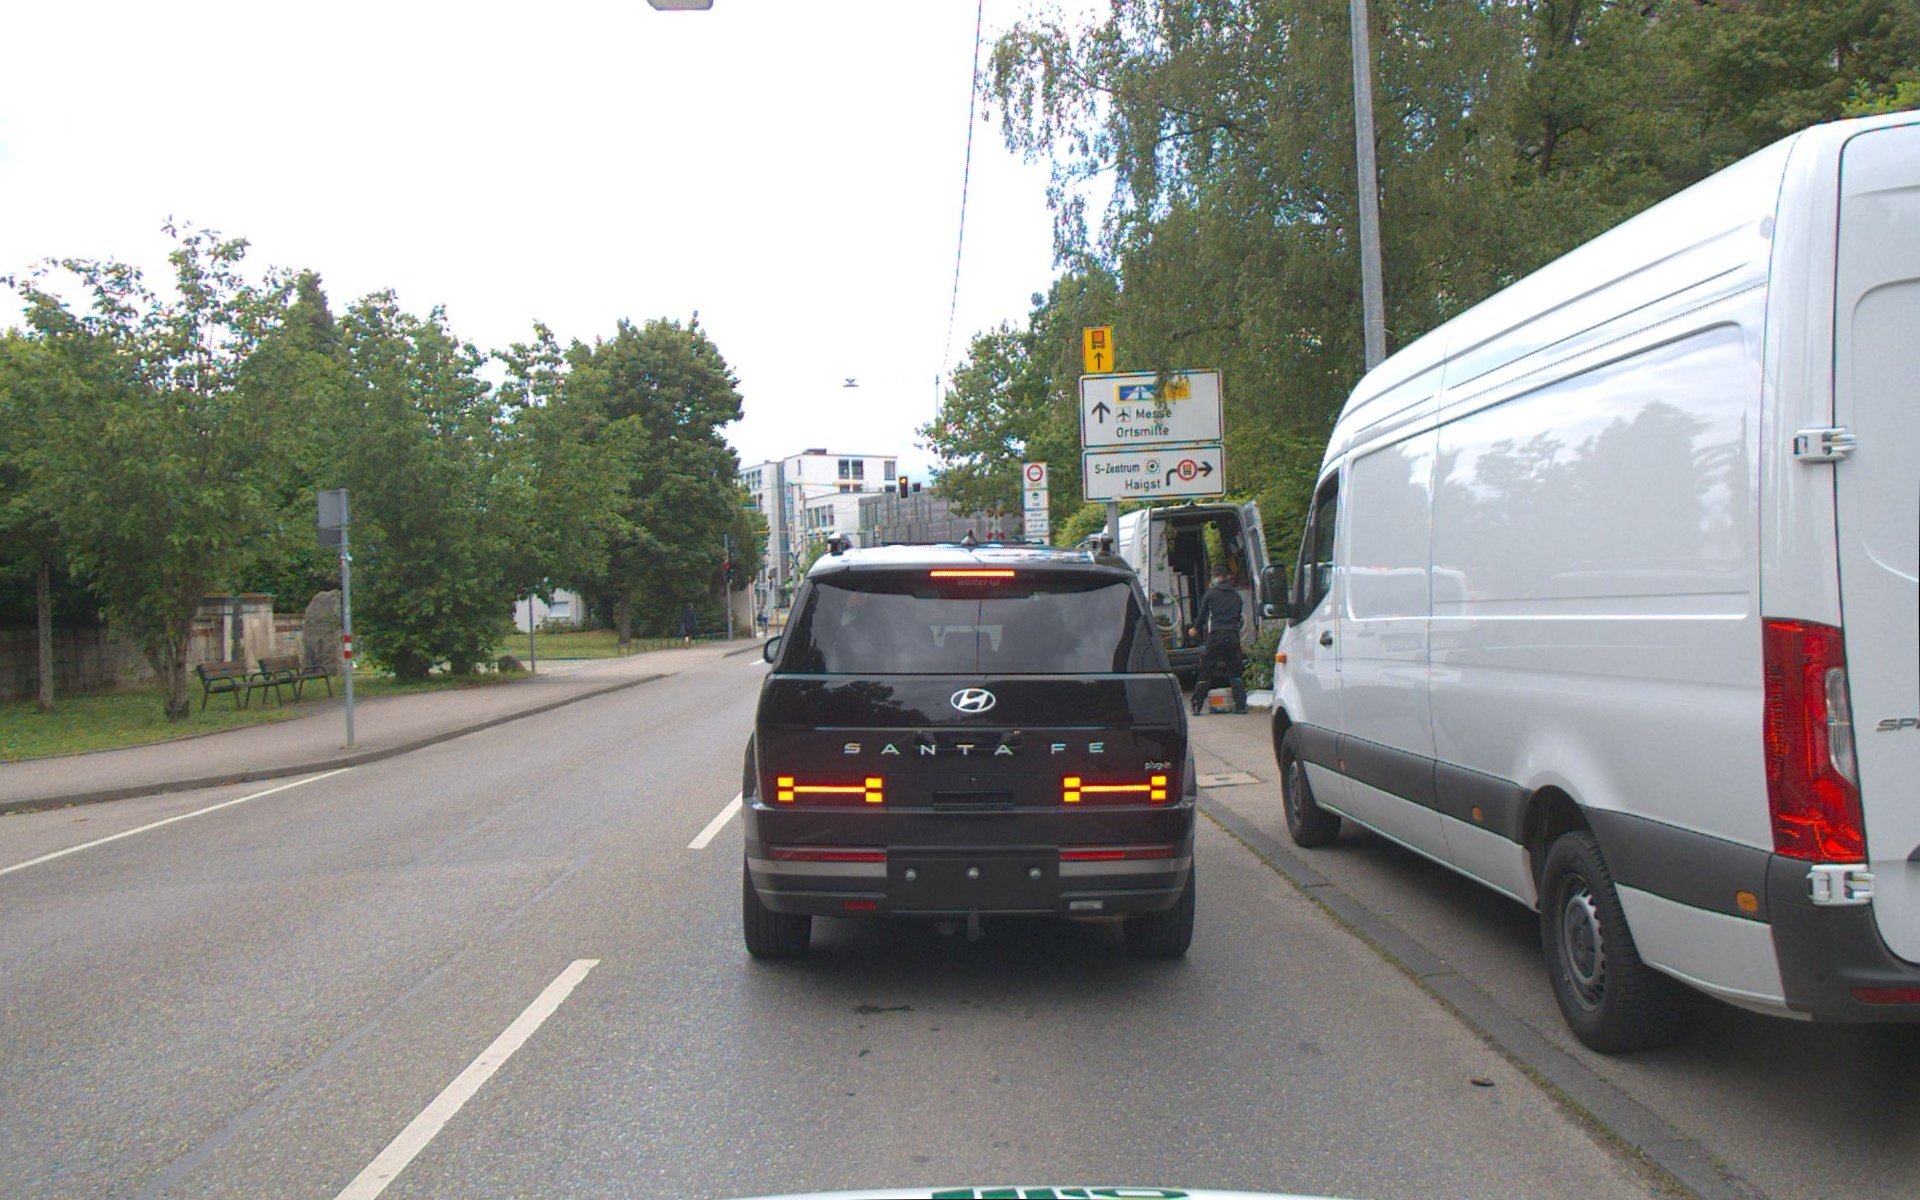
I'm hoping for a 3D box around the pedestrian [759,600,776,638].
[{"bbox_3d":[-9.075,0.879,77.934,0.724,1.745,0.791,-2,0,-8],"label":"pedestrian"}]

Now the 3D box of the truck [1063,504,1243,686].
[{"bbox_3d":[3.061,-0.060,27.377,1.904,2.606,5.211,-3,0,-4],"label":"truck"}]

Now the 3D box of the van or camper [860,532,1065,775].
[{"bbox_3d":[-0.008,0.457,16.345,1.719,2.049,3.999,-2,0,-1],"label":"van or camper"}]

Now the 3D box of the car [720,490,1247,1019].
[{"bbox_3d":[0.057,0.537,7.824,1.851,1.851,3.999,0,0,-1],"label":"car"}]

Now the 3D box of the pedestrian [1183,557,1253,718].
[{"bbox_3d":[3.015,0.427,19.384,0.741,1.828,0.873,-2,0,8],"label":"pedestrian"}]

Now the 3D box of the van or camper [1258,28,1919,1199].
[{"bbox_3d":[2.916,0.005,7.042,1.953,2.665,6.540,-2,0,-1],"label":"van or camper"}]

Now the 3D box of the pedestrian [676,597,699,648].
[{"bbox_3d":[-9.569,0.782,58.138,0.724,1.745,0.791,-2,0,-8],"label":"pedestrian"}]
